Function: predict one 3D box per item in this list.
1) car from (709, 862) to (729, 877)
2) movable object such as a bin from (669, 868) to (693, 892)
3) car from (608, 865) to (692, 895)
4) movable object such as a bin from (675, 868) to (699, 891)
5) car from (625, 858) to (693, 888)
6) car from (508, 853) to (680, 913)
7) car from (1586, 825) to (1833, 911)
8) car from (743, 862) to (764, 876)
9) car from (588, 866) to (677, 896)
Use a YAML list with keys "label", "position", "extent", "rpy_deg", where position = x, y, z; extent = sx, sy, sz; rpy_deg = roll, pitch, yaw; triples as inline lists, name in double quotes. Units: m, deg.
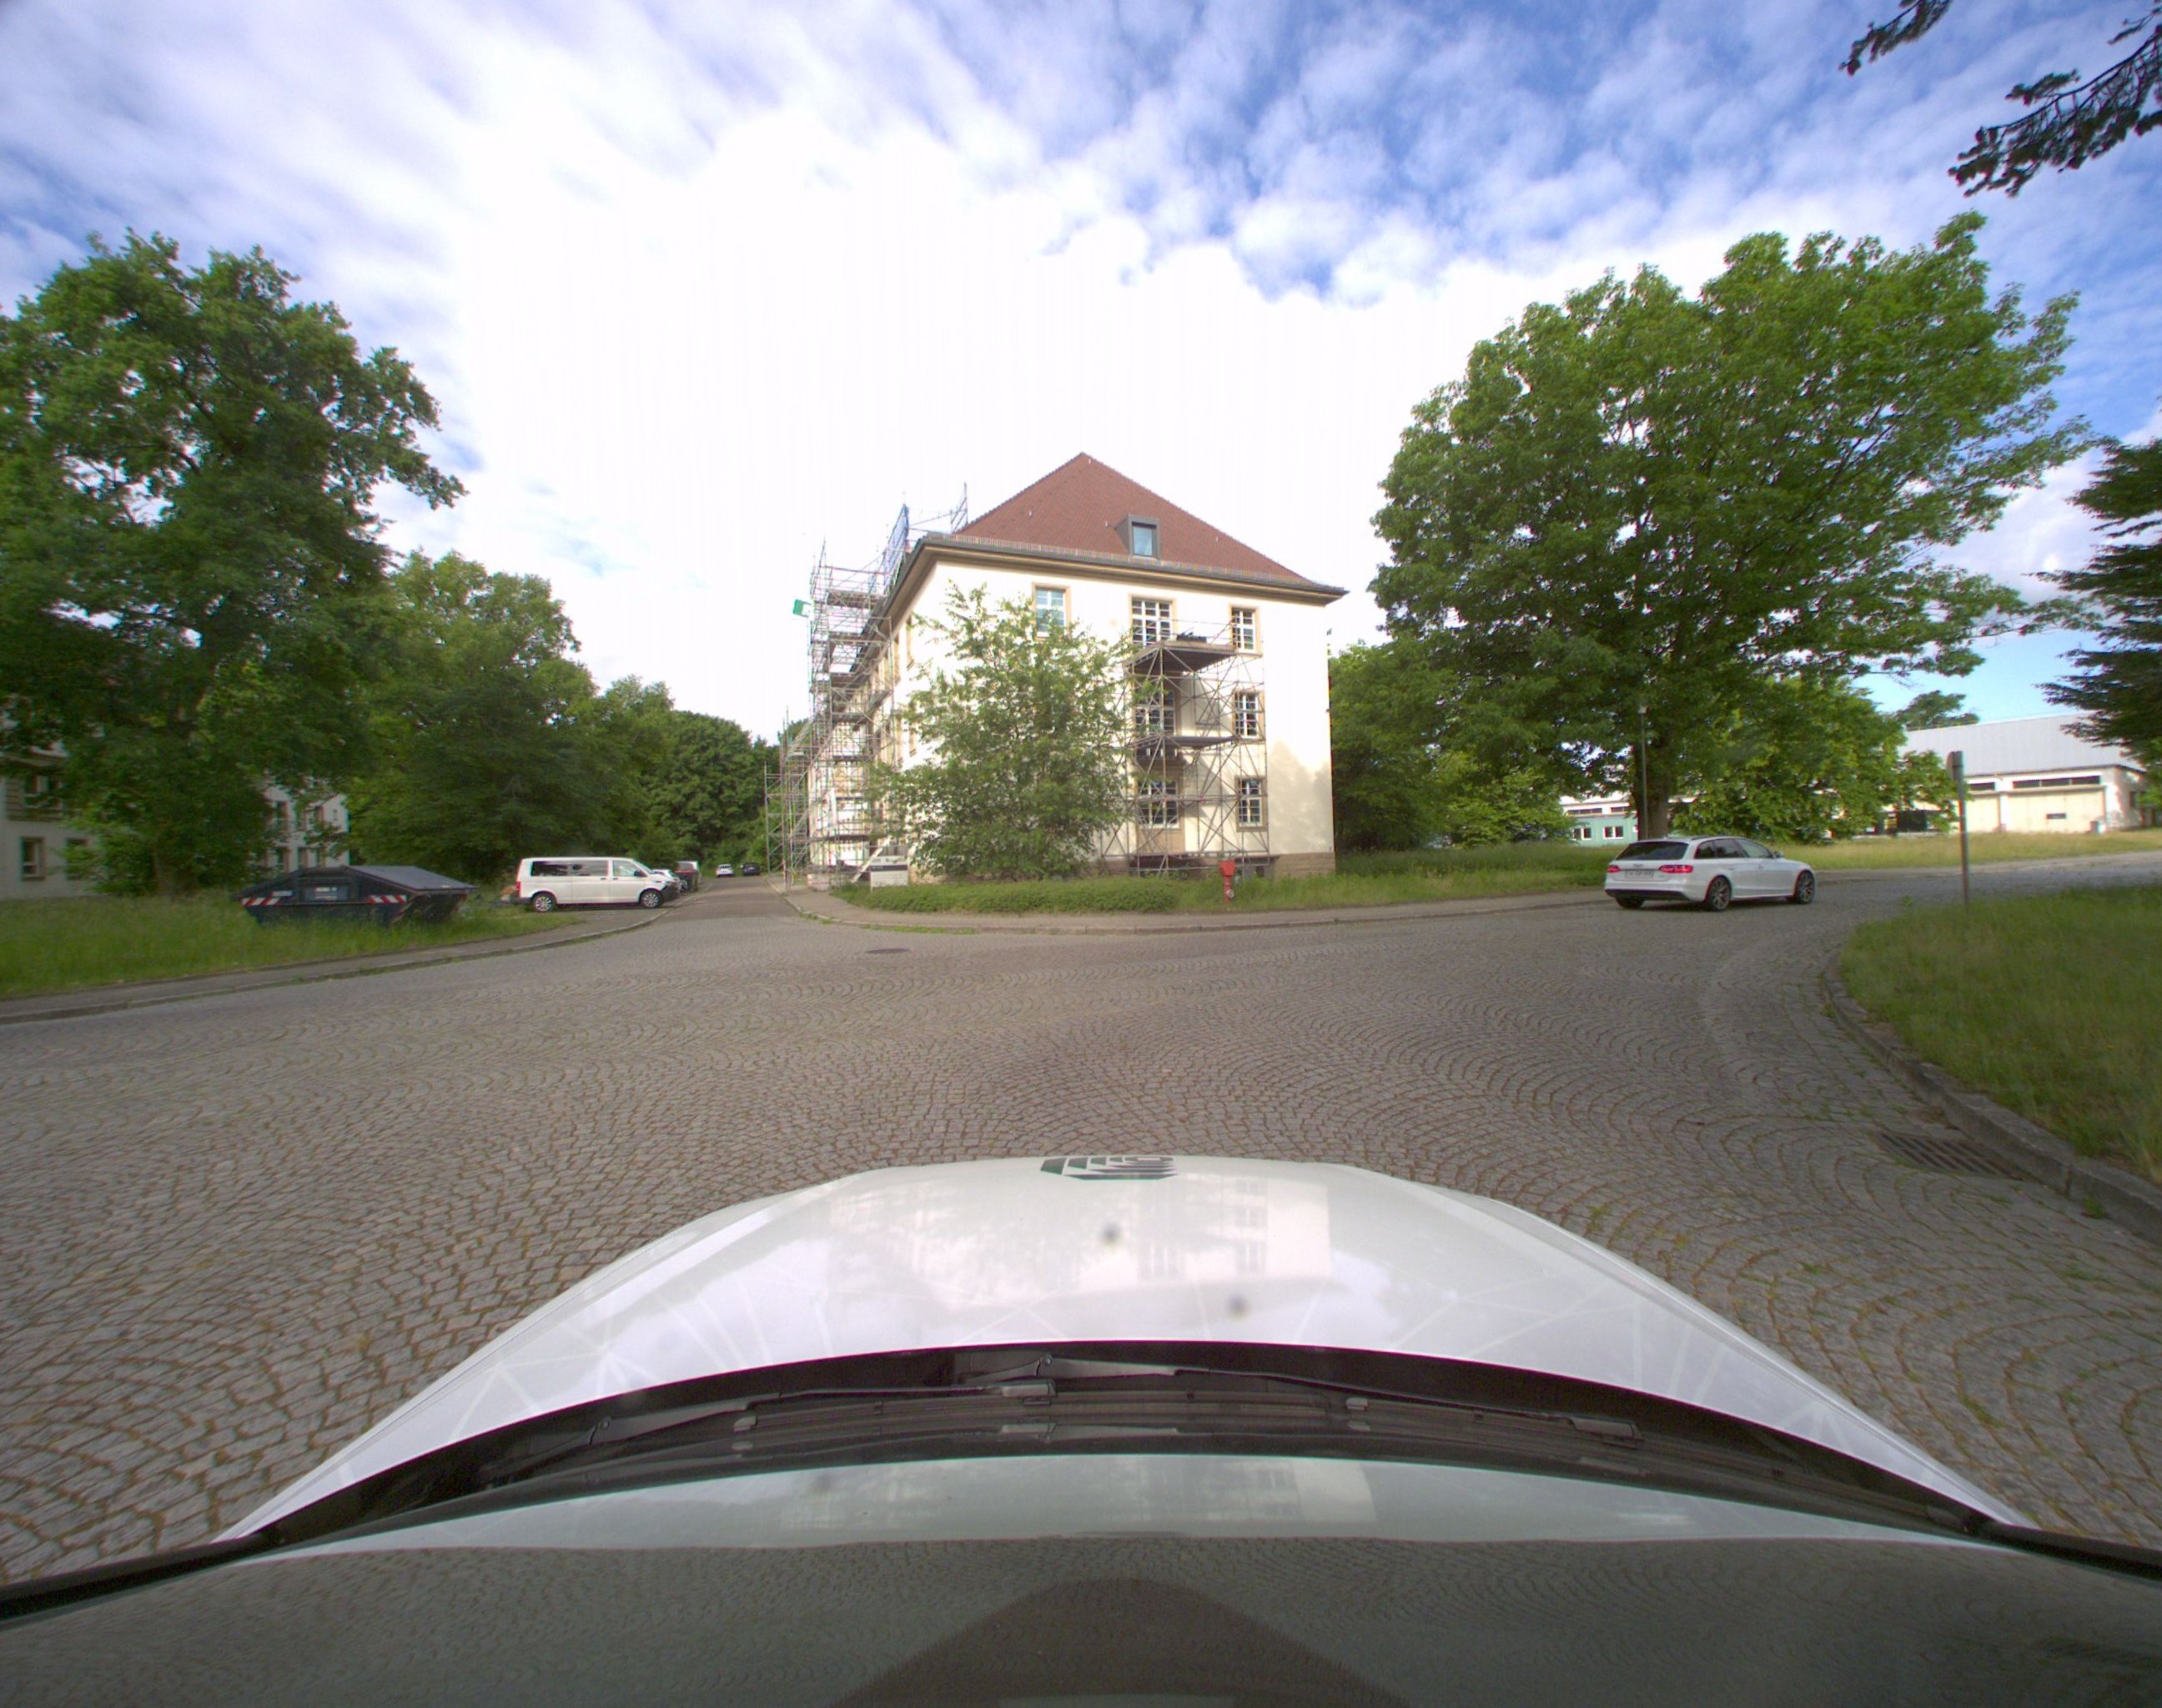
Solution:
- label: "car"
  position: [-40.765, 1.760, 91.639]
  extent: [2.011, 1.548, 3.925]
  rpy_deg: [1, -2, -25]
- label: "movable object such as a bin"
  position: [-23.480, 1.532, 47.836]
  extent: [1.188, 1.407, 0.968]
  rpy_deg: [1, -2, -22]
- label: "car"
  position: [-23.221, 1.395, 43.994]
  extent: [3.688, 1.593, 1.755]
  rpy_deg: [1, -2, -16]
- label: "movable object such as a bin"
  position: [-23.711, 1.536, 49.028]
  extent: [1.188, 1.407, 0.968]
  rpy_deg: [1, -2, -22]
- label: "car"
  position: [-28.621, 1.314, 55.326]
  extent: [4.008, 2.014, 1.905]
  rpy_deg: [1, -2, -27]
- label: "car"
  position: [-17.879, 1.027, 30.263]
  extent: [5.224, 2.060, 2.171]
  rpy_deg: [-1, -1, -24]
- label: "car"
  position: [12.540, 0.243, 16.231]
  extent: [4.712, 1.437, 1.840]
  rpy_deg: [-2, -1, -24]
- label: "car"
  position: [-37.513, 1.711, 93.398]
  extent: [2.070, 1.594, 3.973]
  rpy_deg: [1, -2, -20]
- label: "car"
  position: [-23.036, 1.396, 41.989]
  extent: [3.634, 1.481, 1.812]
  rpy_deg: [1, -2, -15]
